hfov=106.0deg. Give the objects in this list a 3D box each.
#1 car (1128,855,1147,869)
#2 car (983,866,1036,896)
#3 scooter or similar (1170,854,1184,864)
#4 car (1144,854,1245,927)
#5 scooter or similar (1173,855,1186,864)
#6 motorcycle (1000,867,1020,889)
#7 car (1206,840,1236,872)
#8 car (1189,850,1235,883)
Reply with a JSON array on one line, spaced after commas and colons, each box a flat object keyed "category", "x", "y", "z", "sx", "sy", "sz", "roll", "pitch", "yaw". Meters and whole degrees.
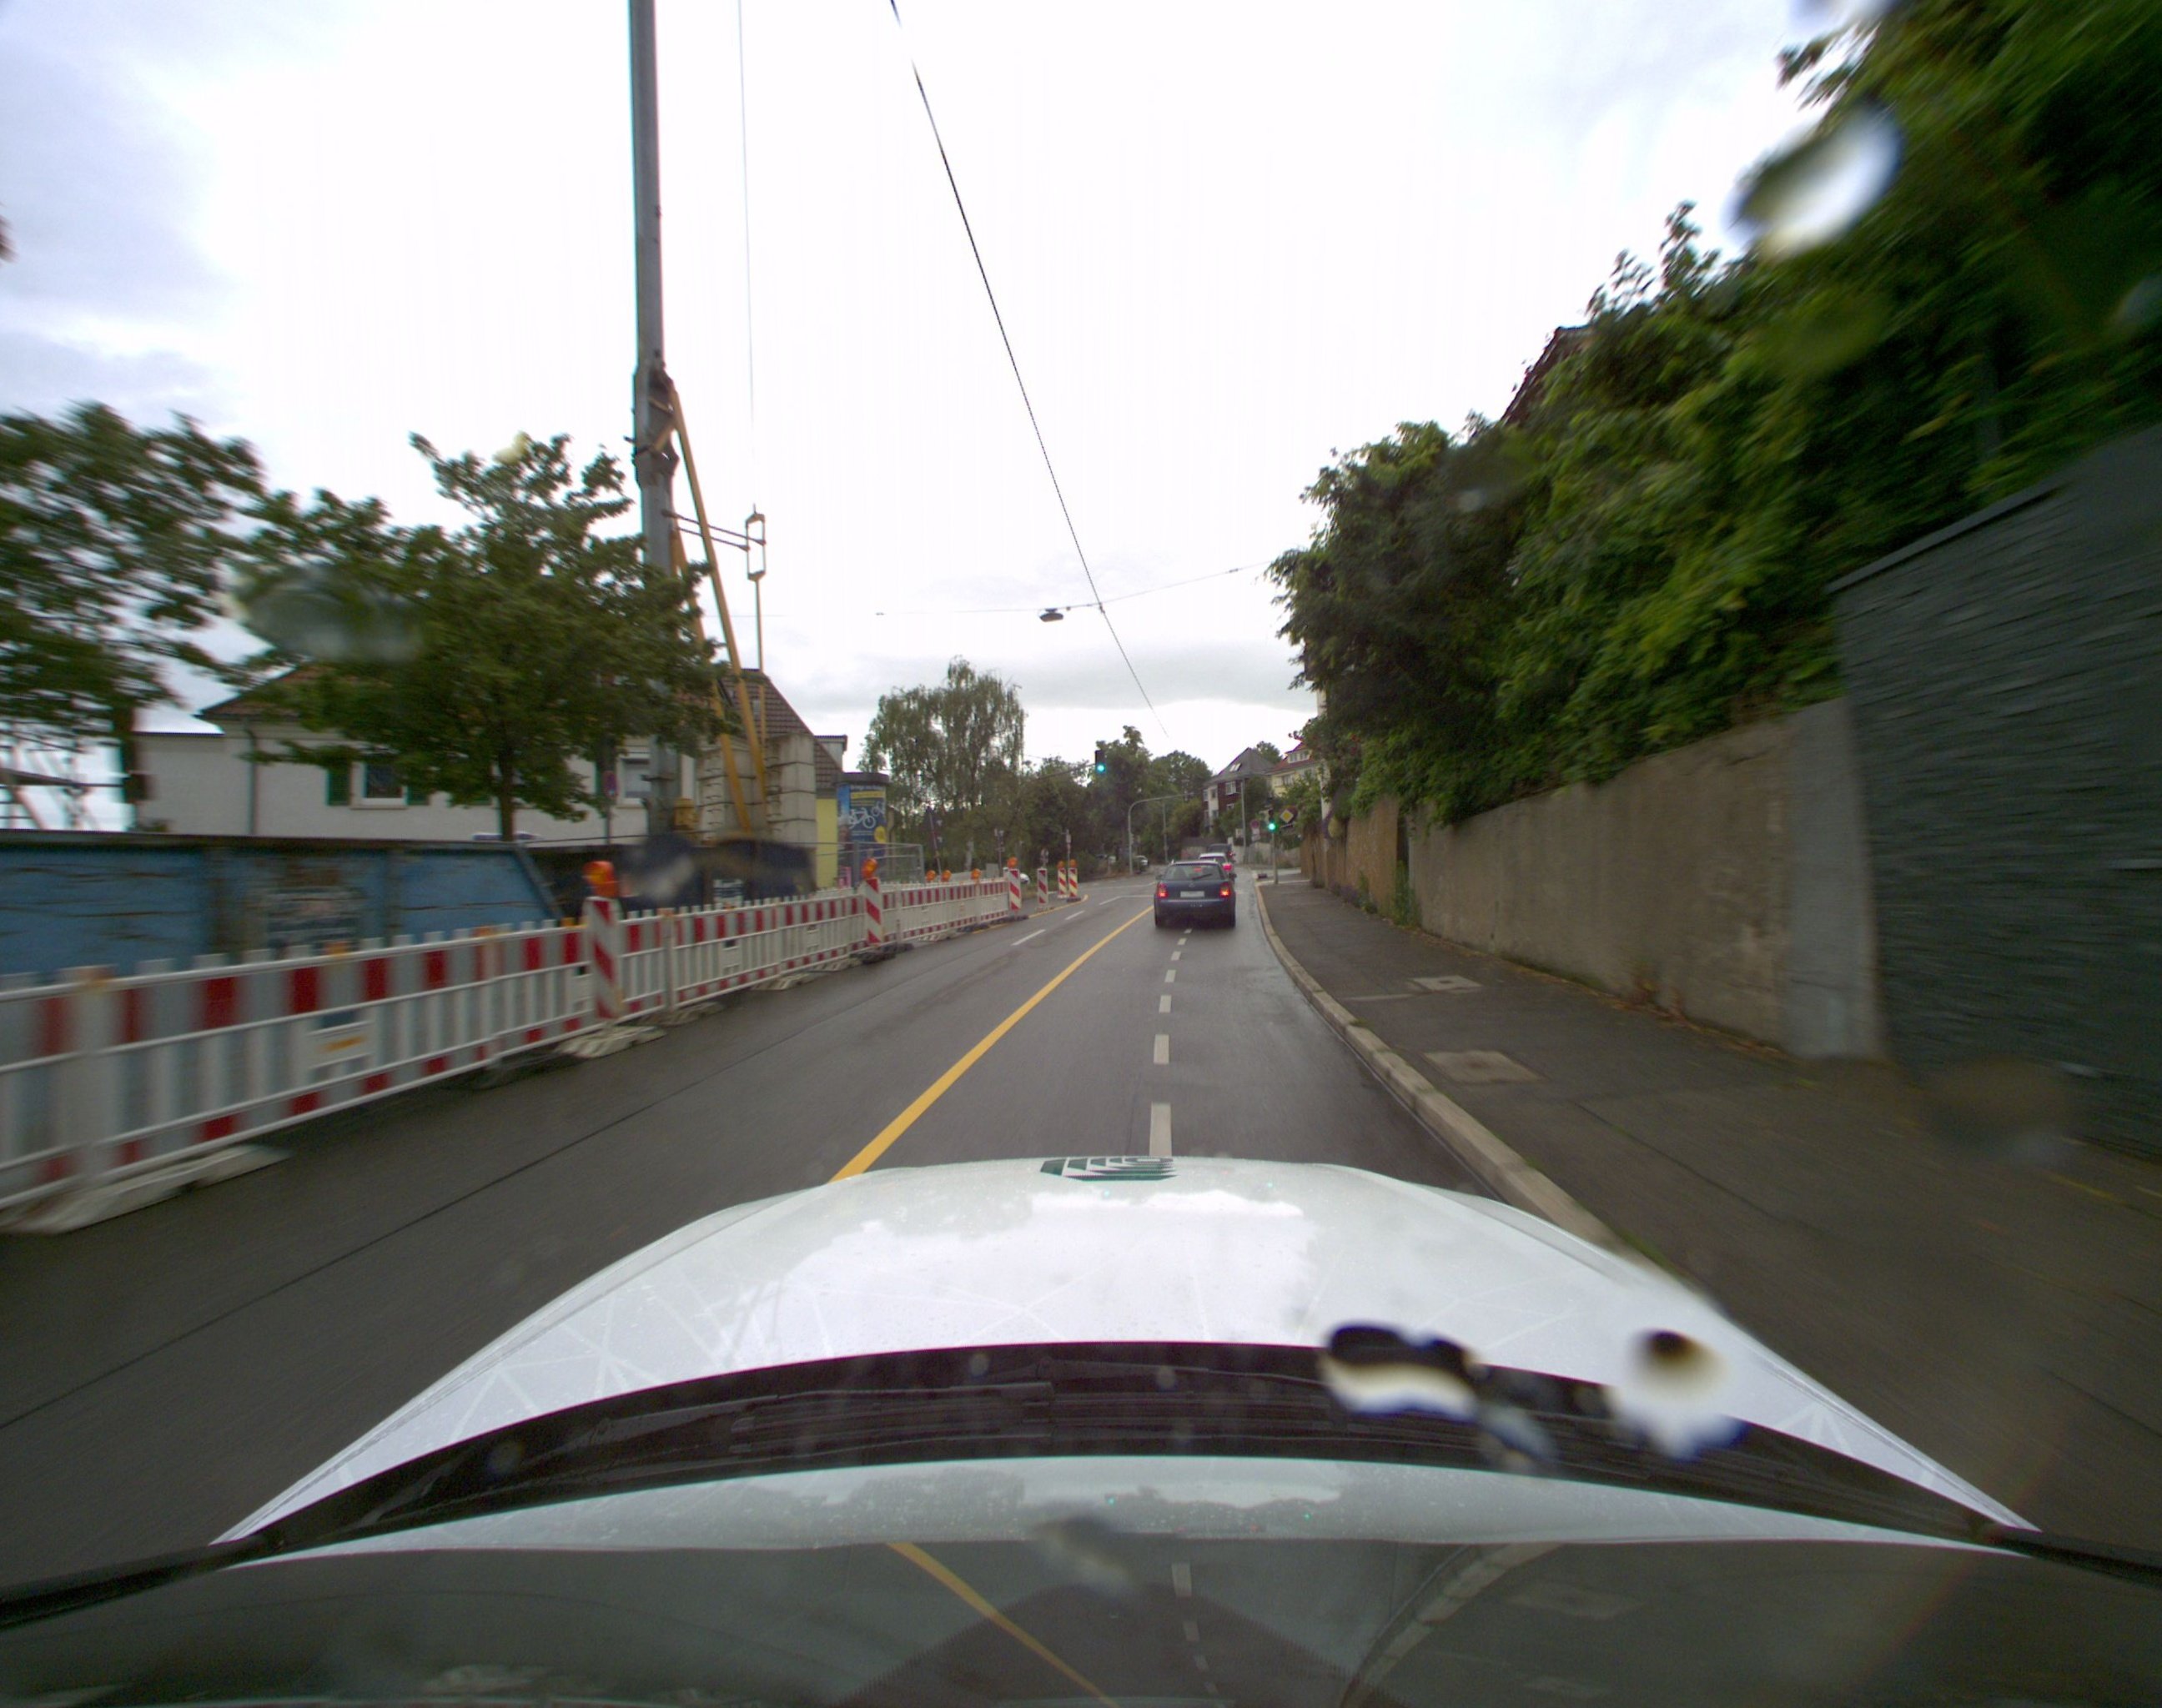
[{"category": "car", "x": 6.471, "y": 0.884, "z": 93.608, "sx": 1.669, "sy": 1.426, "sz": 3.998, "roll": -4, "pitch": 0, "yaw": -1}, {"category": "car", "x": -4.599, "y": 1.741, "z": 51.768, "sx": 1.695, "sy": 1.509, "sz": 3.971, "roll": -5, "pitch": -2, "yaw": -31}, {"category": "scooter or similar", "x": 13.915, "y": 0.725, "z": 118.093, "sx": 1.829, "sy": 1.315, "sz": 0.599, "roll": 2, "pitch": -3, "yaw": -1}, {"category": "car", "x": 2.689, "y": 0.747, "z": 18.514, "sx": 1.764, "sy": 1.439, "sz": 4.016, "roll": -1, "pitch": 0, "yaw": 15}, {"category": "scooter or similar", "x": 14.341, "y": 0.797, "z": 119.039, "sx": 1.829, "sy": 1.315, "sz": 0.599, "roll": 2, "pitch": -3, "yaw": -1}, {"category": "motorcycle", "x": -3.886, "y": 1.302, "z": 44.895, "sx": 0.587, "sy": 1.131, "sz": 1.848, "roll": -4, "pitch": -1, "yaw": 9}, {"category": "car", "x": 9.180, "y": 0.116, "z": 53.252, "sx": 1.720, "sy": 1.894, "sz": 4.067, "roll": -4, "pitch": 0, "yaw": 10}, {"category": "car", "x": 5.990, "y": 0.557, "z": 36.778, "sx": 1.896, "sy": 1.388, "sz": 4.363, "roll": 0, "pitch": -1, "yaw": 11}]
